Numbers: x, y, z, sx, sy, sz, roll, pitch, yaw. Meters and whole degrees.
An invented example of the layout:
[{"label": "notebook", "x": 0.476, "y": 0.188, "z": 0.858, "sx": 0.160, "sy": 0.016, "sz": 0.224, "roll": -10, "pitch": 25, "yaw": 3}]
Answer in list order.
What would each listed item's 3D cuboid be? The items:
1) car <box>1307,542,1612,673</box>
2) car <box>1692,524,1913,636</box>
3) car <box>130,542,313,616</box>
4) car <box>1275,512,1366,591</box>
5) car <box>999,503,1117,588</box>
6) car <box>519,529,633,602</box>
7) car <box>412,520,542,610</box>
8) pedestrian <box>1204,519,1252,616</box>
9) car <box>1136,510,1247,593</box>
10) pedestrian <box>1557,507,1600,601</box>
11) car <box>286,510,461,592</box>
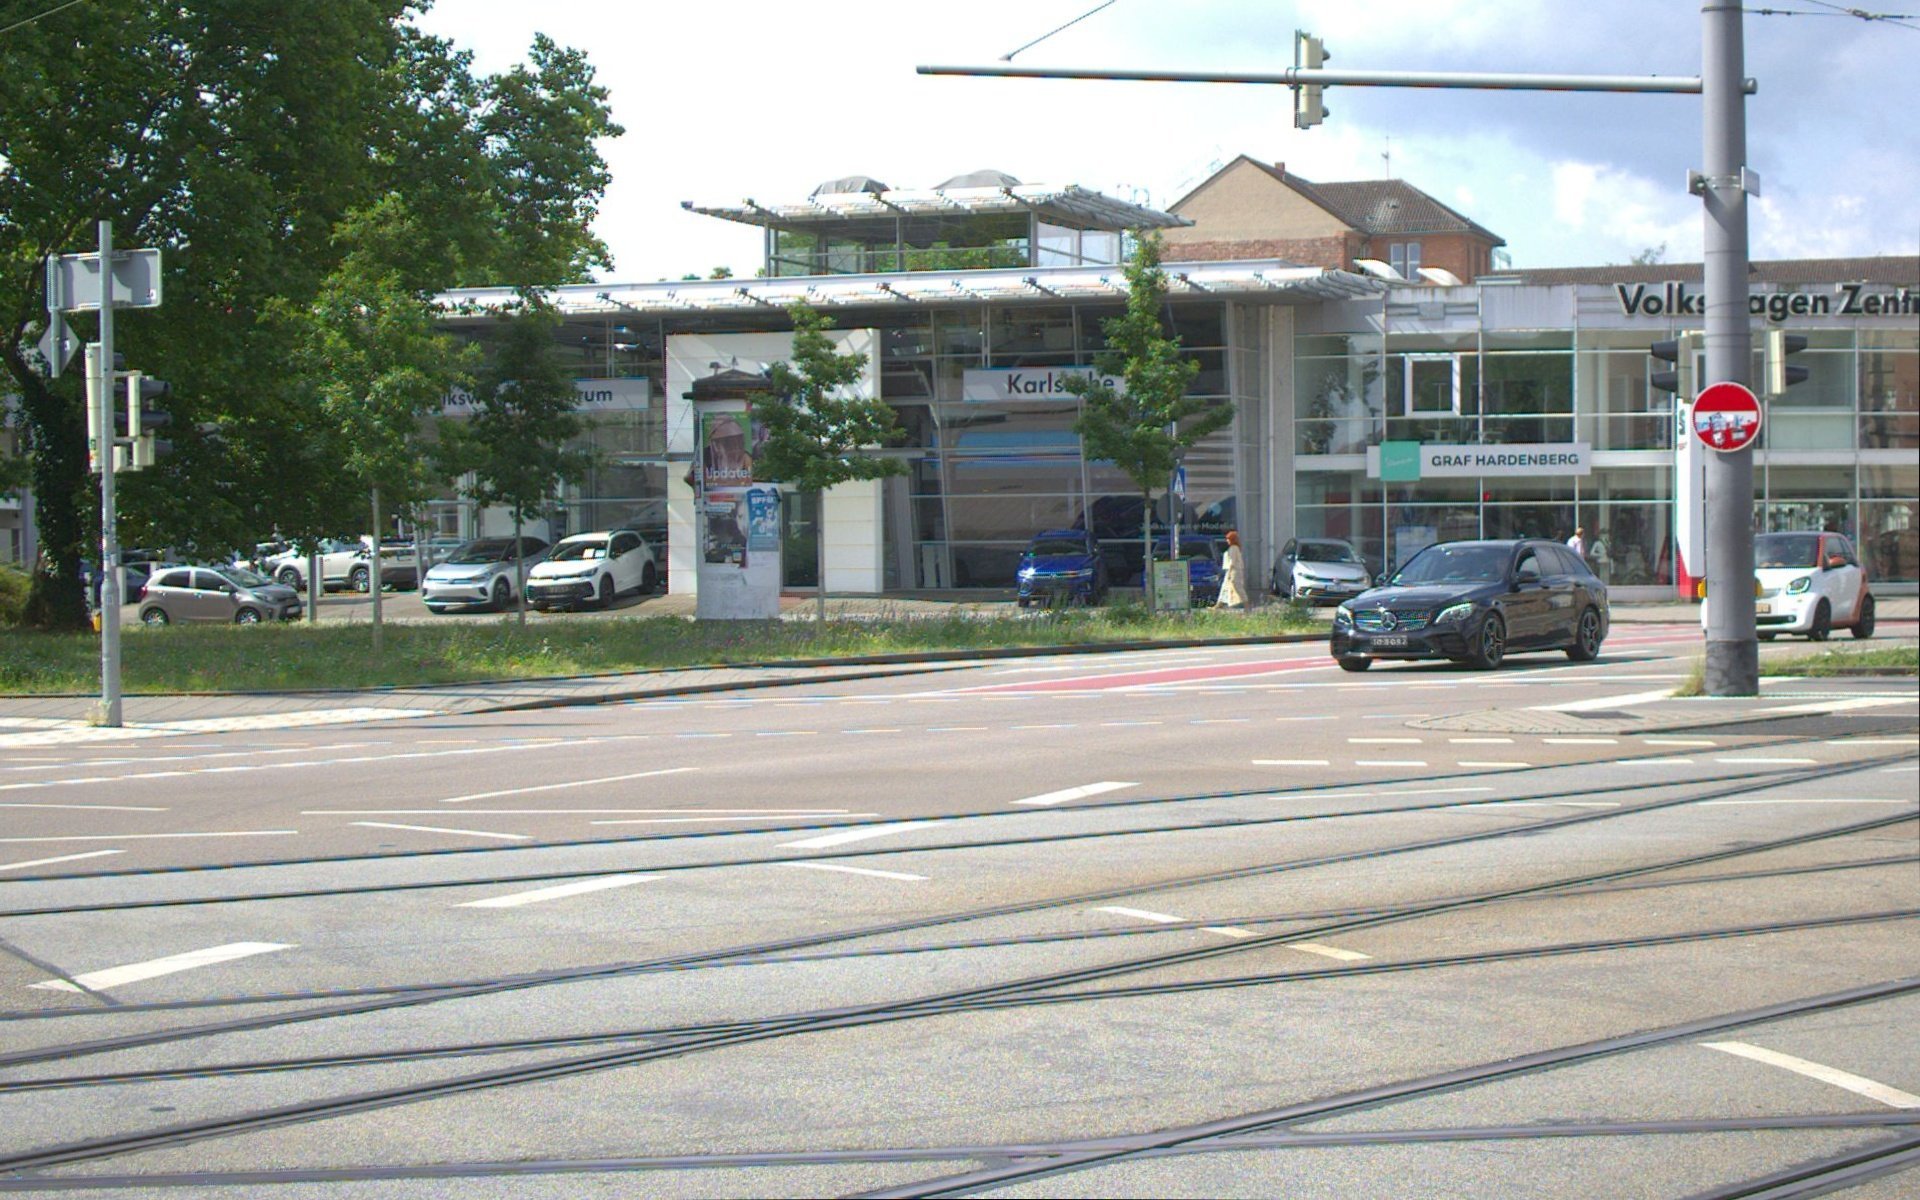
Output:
[{"label": "car", "x": 5.709, "y": 0.043, "z": 38.933, "sx": 1.868, "sy": 1.371, "sz": 3.933, "roll": 1, "pitch": 1, "yaw": 35}, {"label": "car", "x": 11.853, "y": -0.274, "z": 48.238, "sx": 1.689, "sy": 1.465, "sz": 3.648, "roll": 2, "pitch": 1, "yaw": 36}, {"label": "car", "x": -16.675, "y": -0.484, "z": 77.671, "sx": 3.673, "sy": 1.483, "sz": 1.672, "roll": 3, "pitch": 2, "yaw": 16}, {"label": "car", "x": 8.119, "y": -1.081, "z": 77.183, "sx": 1.929, "sy": 1.678, "sz": 3.999, "roll": 2, "pitch": 1, "yaw": 7}, {"label": "car", "x": 2.234, "y": -1.220, "z": 77.508, "sx": 1.994, "sy": 1.831, "sz": 3.998, "roll": -1, "pitch": 0, "yaw": 11}, {"label": "car", "x": -9.090, "y": -0.834, "z": 81.700, "sx": 1.786, "sy": 1.676, "sz": 3.999, "roll": 0, "pitch": 1, "yaw": 7}, {"label": "car", "x": -11.491, "y": -0.840, "z": 82.037, "sx": 1.994, "sy": 2.007, "sz": 3.999, "roll": 3, "pitch": 1, "yaw": 7}, {"label": "pedestrian", "x": 5.614, "y": -0.682, "z": 71.894, "sx": 0.808, "sy": 2.007, "sz": 0.807, "roll": 2, "pitch": 1, "yaw": 15}, {"label": "car", "x": 5.151, "y": -1.069, "z": 76.150, "sx": 1.994, "sy": 1.719, "sz": 3.998, "roll": 2, "pitch": 1, "yaw": 10}, {"label": "pedestrian", "x": 13.227, "y": -0.984, "z": 73.494, "sx": 0.869, "sy": 2.007, "sz": 0.703, "roll": 0, "pitch": 1, "yaw": 8}, {"label": "car", "x": -15.314, "y": -1.273, "z": 89.780, "sx": 3.991, "sy": 2.007, "sz": 1.998, "roll": 2, "pitch": 1, "yaw": 21}]
